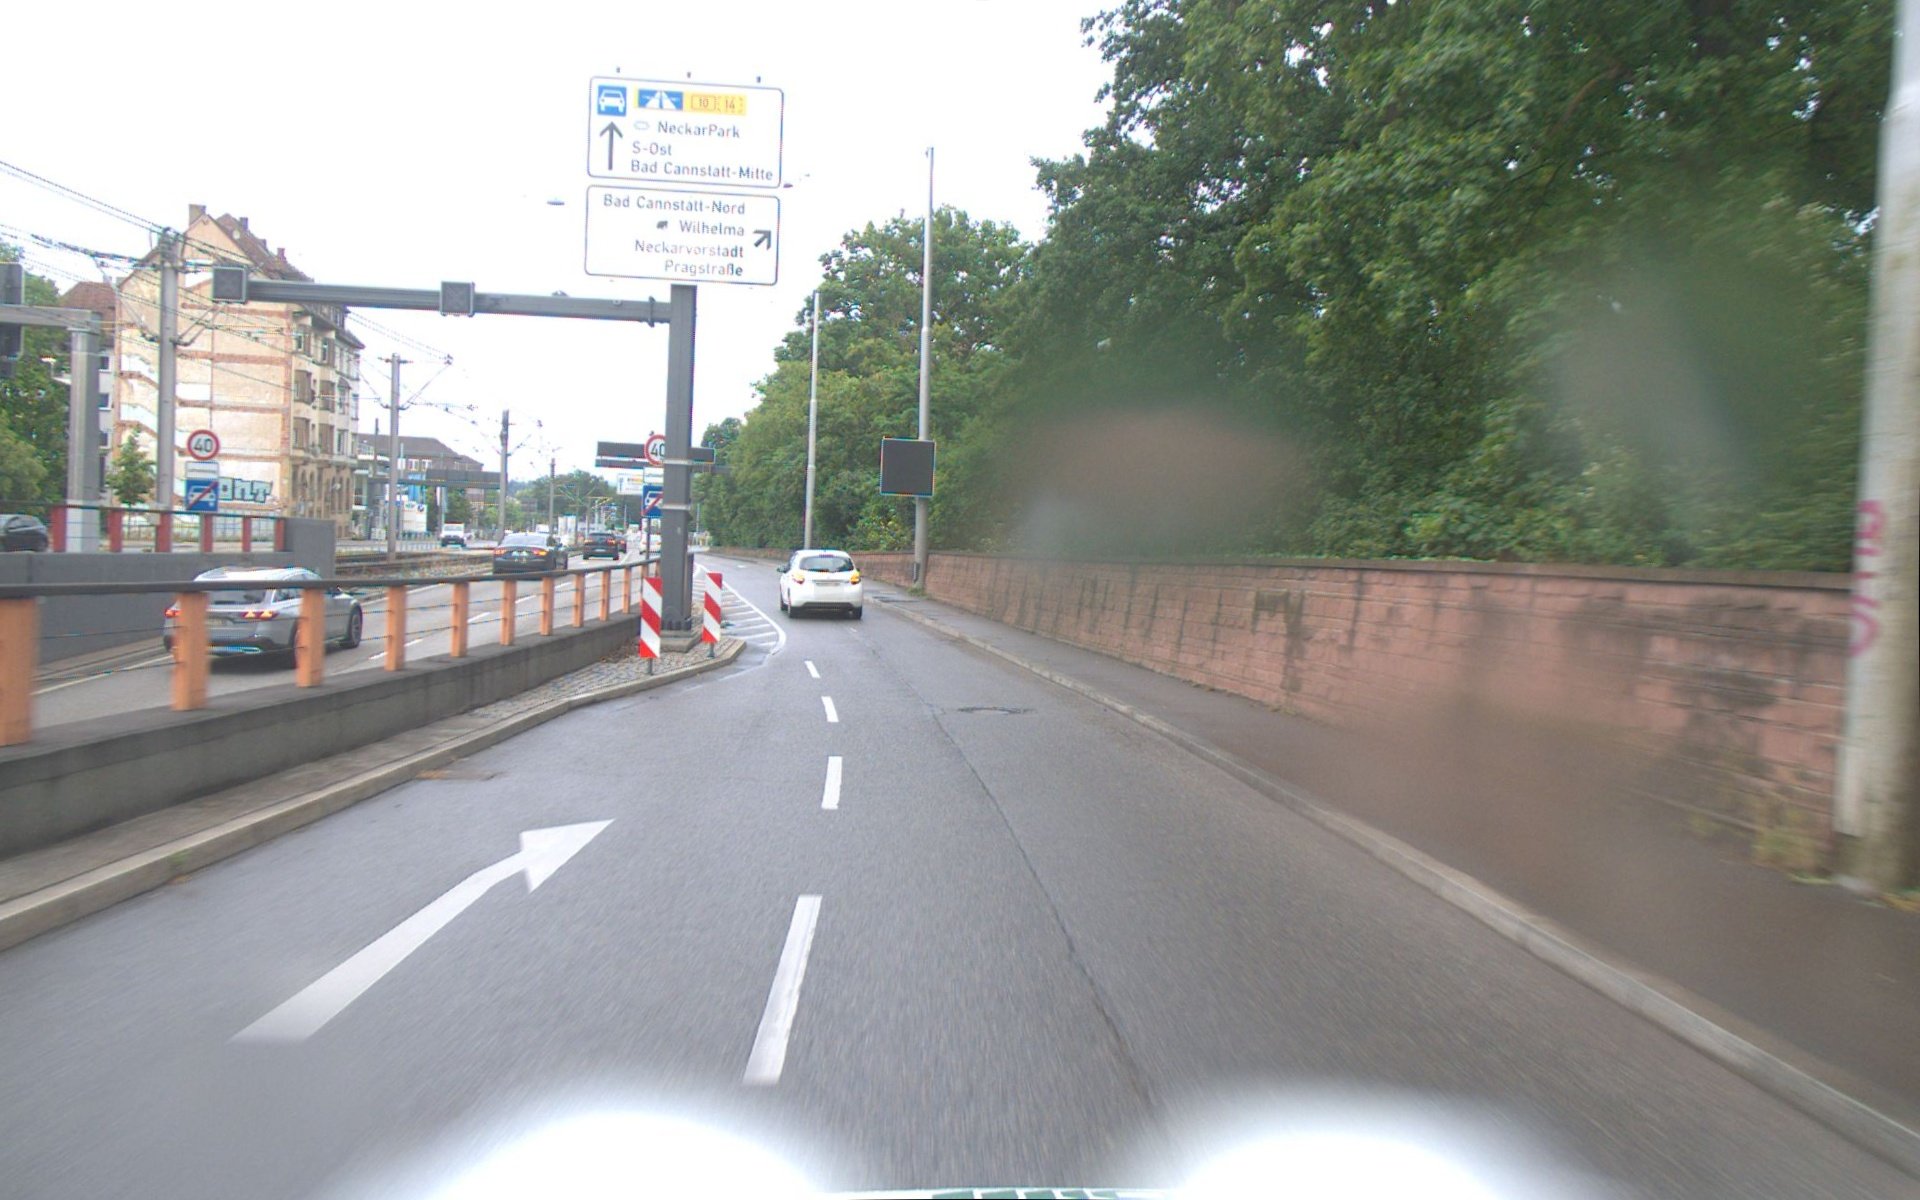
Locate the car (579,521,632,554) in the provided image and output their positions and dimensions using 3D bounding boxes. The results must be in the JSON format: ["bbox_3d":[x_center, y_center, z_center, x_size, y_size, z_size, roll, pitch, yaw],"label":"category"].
[{"bbox_3d":[-17.949,-3.158,83.814,1.953,1.603,3.999,1,2,-3],"label":"car"}]

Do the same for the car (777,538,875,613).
[{"bbox_3d":[-3.139,-0.520,38.207,1.919,1.514,3.991,3,-1,-9],"label":"car"}]

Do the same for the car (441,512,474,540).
[{"bbox_3d":[-43.096,-6.314,141.957,1.957,2.154,5.098,3,1,-10],"label":"car"}]

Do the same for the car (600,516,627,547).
[{"bbox_3d":[-27.209,-5.357,129.953,1.958,2.049,3.988,3,-1,-11],"label":"car"}]

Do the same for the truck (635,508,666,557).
[{"bbox_3d":[-39.639,-8.552,212.290,3.401,5.495,12.024,3,-1,-9],"label":"truck"}]

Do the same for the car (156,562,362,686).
[{"bbox_3d":[-11.343,0.320,27.069,1.784,1.592,4.092,0,5,-3],"label":"car"}]

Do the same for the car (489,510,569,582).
[{"bbox_3d":[-13.087,-1.684,50.420,1.687,1.923,3.535,2,5,-4],"label":"car"}]

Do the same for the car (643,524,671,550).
[{"bbox_3d":[-22.963,-4.745,125.553,2.044,1.905,4.087,1,1,-10],"label":"car"}]

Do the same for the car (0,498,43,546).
[{"bbox_3d":[-34.078,-2.749,57.900,1.788,1.612,3.832,3,3,0],"label":"car"}]
